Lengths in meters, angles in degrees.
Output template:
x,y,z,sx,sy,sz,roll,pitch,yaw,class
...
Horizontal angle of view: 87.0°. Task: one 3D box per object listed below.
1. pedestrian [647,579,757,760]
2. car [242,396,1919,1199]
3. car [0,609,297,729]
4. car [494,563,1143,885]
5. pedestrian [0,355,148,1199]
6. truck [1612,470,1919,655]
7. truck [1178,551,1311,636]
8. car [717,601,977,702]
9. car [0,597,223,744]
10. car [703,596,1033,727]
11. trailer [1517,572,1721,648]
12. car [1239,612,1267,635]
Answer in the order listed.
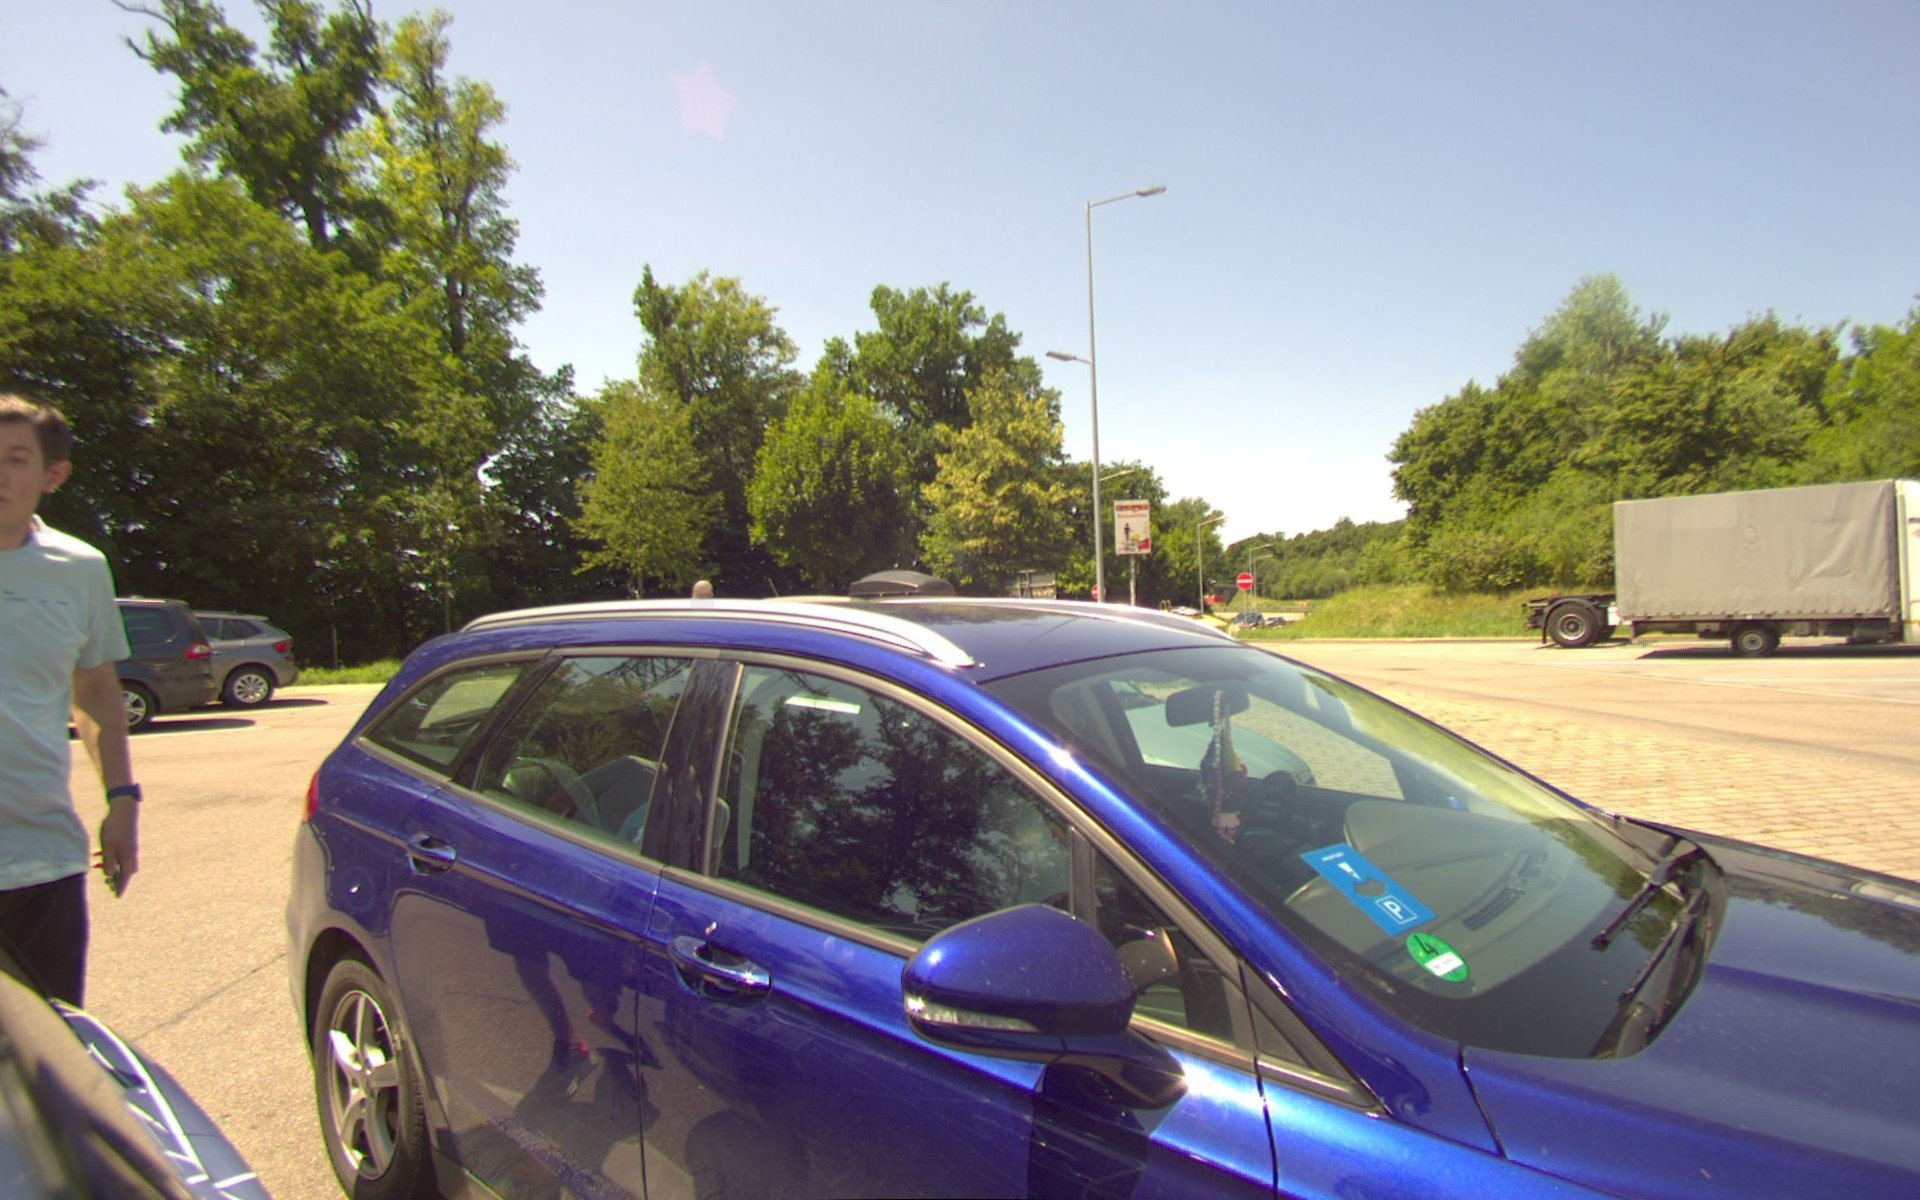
x,y,z,sx,sy,sz,roll,pitch,yaw,class
-2.428,0.625,9.526,0.759,1.614,0.663,-3,-1,41,pedestrian
0.240,0.636,2.113,4.466,1.476,1.756,-3,-1,40,car
-12.713,0.980,15.618,3.910,1.598,1.782,-1,-1,-43,car
-1.197,0.637,6.773,4.466,1.476,1.756,-3,-1,40,car
-2.050,0.421,1.933,0.578,1.722,0.678,-3,-2,41,pedestrian
16.678,-0.637,18.780,7.347,3.152,2.339,-3,-2,41,truck
13.329,-0.241,47.432,5.782,3.720,1.987,-2,-1,20,truck
-2.014,0.835,17.097,4.466,1.476,1.756,-3,-1,40,car
-11.684,0.854,12.567,3.910,1.701,1.782,-1,-1,-43,car
-1.361,0.763,13.544,4.466,1.476,1.756,-3,-1,40,car
15.777,0.279,24.334,3.900,1.674,1.456,-2,-1,41,trailer
20.431,1.610,70.526,1.700,1.547,3.830,-2,-1,18,car
